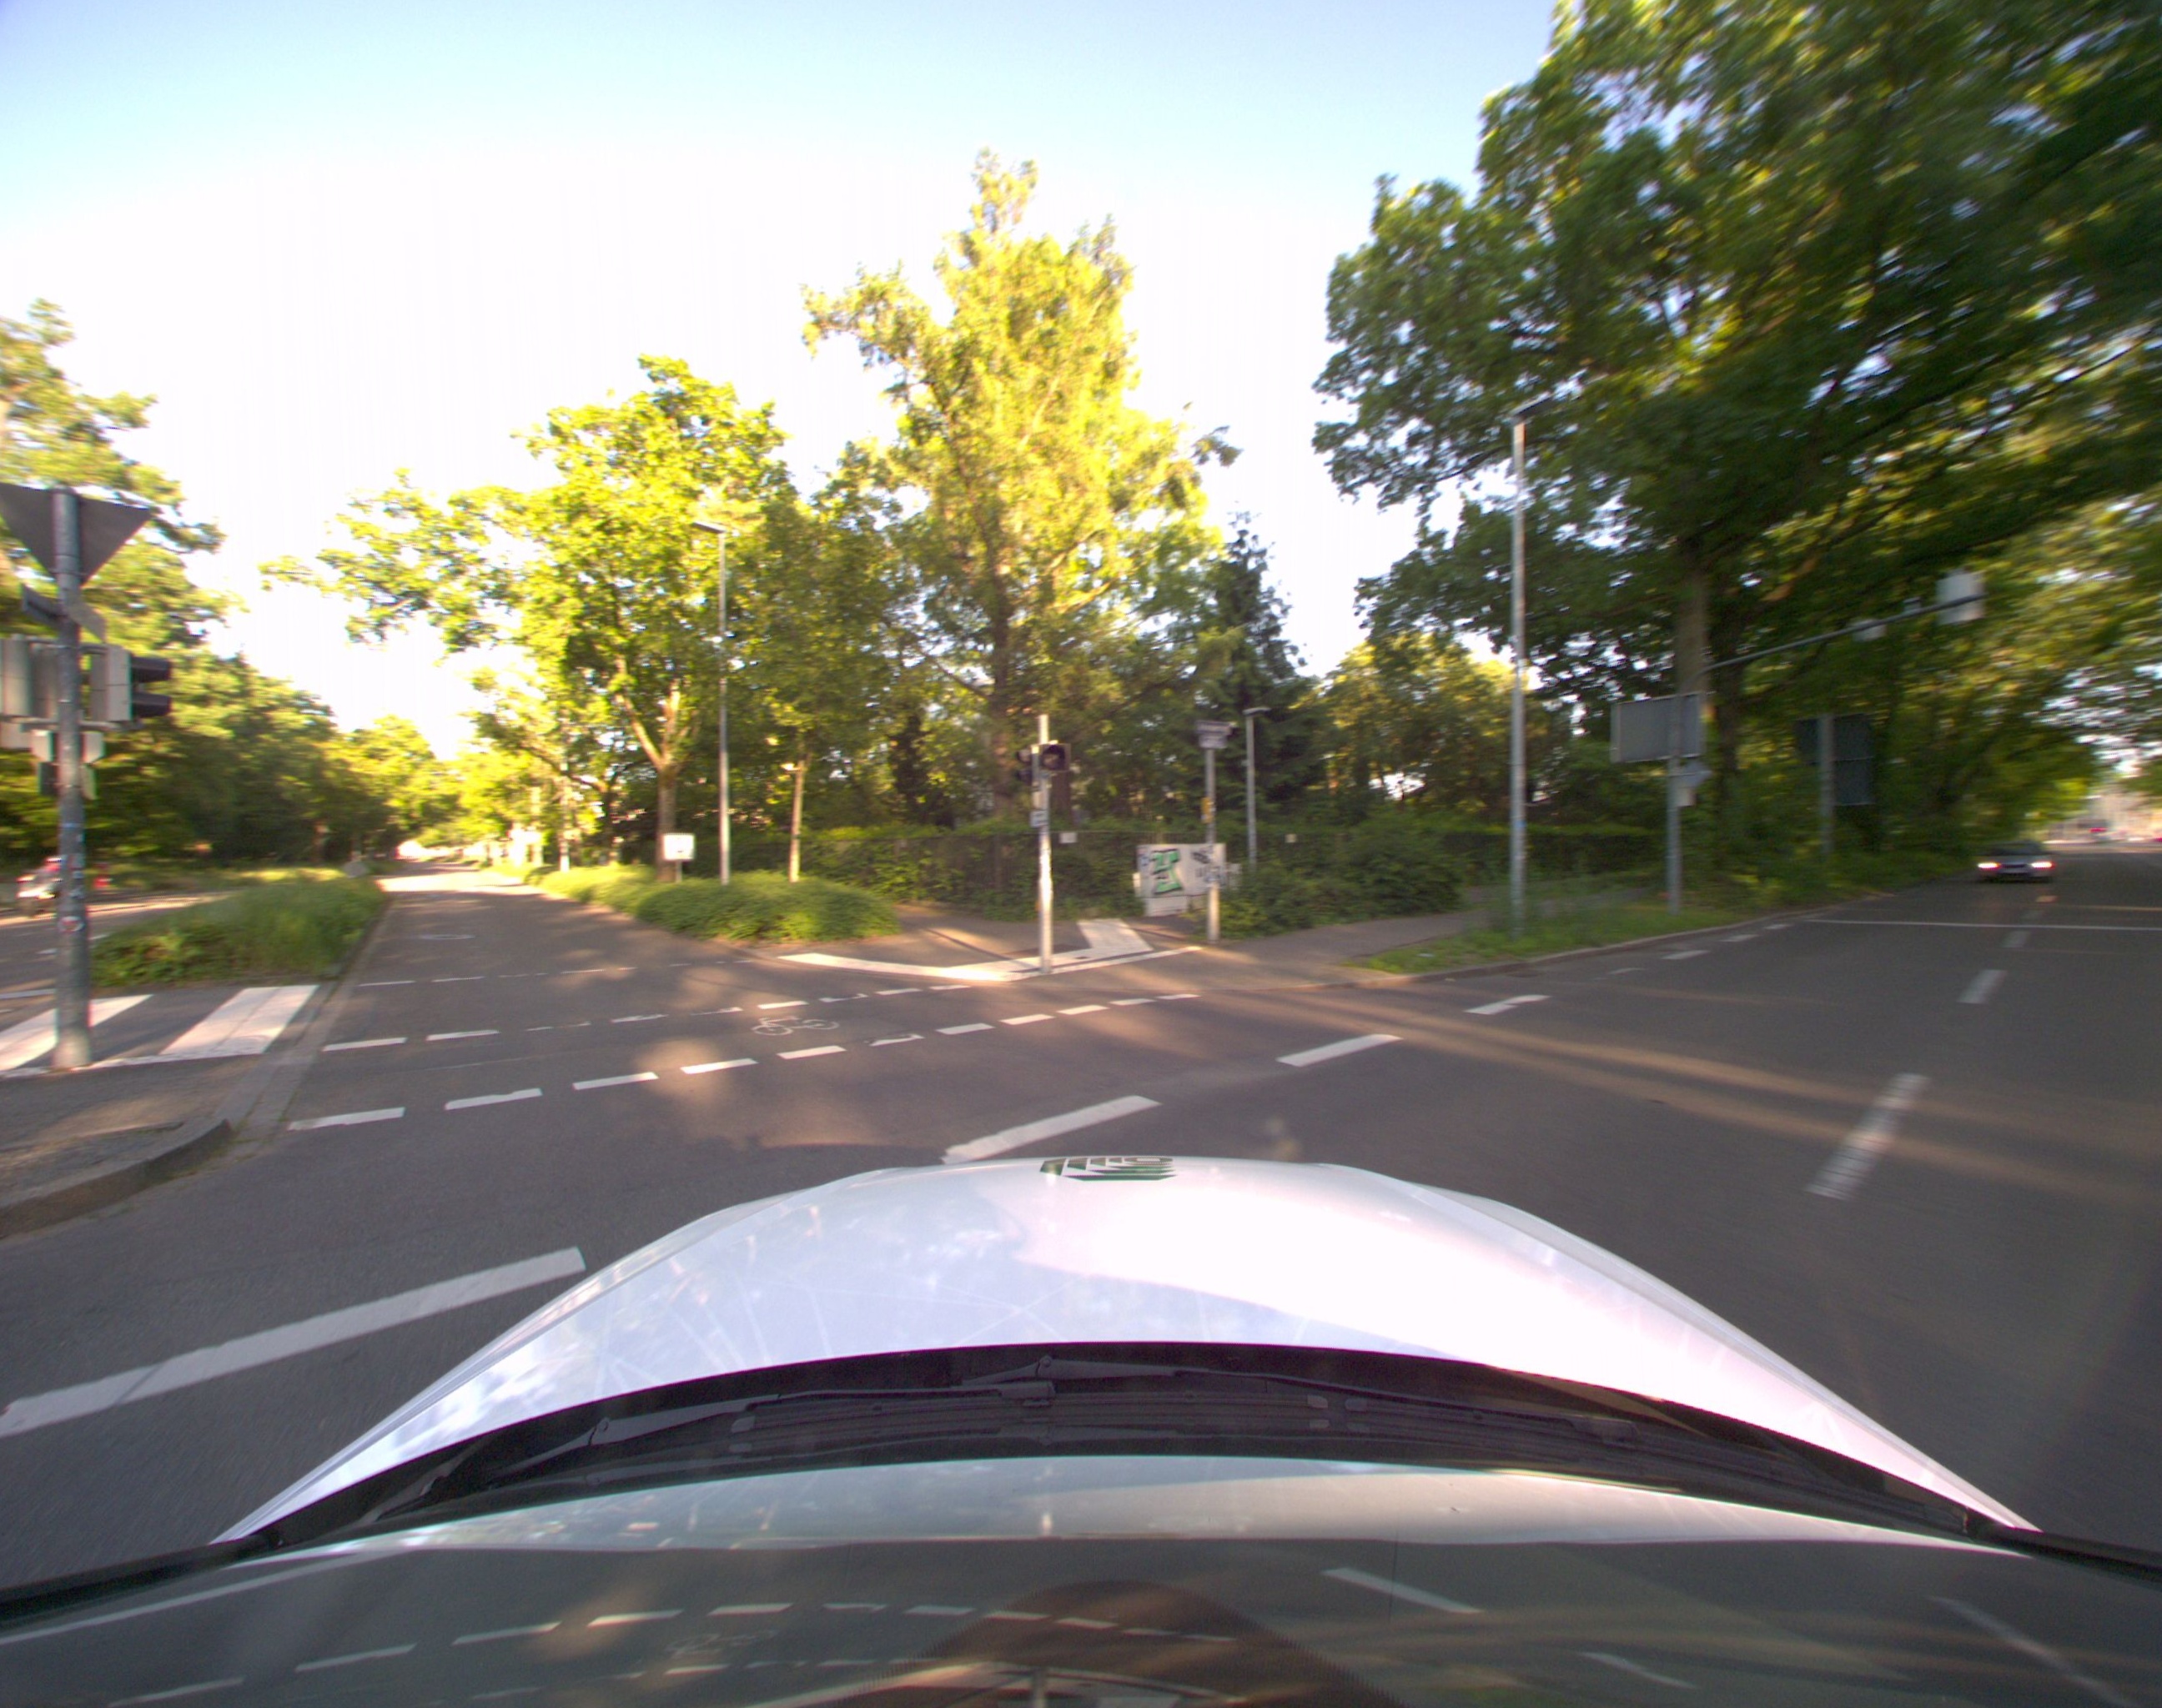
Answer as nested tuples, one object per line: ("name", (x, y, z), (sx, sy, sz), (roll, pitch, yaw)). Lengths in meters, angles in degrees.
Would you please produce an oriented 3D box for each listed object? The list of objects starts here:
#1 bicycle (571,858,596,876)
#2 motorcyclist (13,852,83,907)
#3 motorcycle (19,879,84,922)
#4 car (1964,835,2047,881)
("bicycle", (-36.286, 0.924, 59.448), (0.885, 1.200, 2.315), (-2, 1, -14))
("motorcyclist", (-28.625, 0.683, 22.599), (0.956, 1.470, 1.058), (-1, 0, -38))
("motorcycle", (-28.634, 1.279, 22.682), (0.527, 1.068, 2.262), (-1, 0, -36))
("car", (34.299, 0.123, 30.182), (4.340, 1.580, 1.791), (-1, -2, -39))
